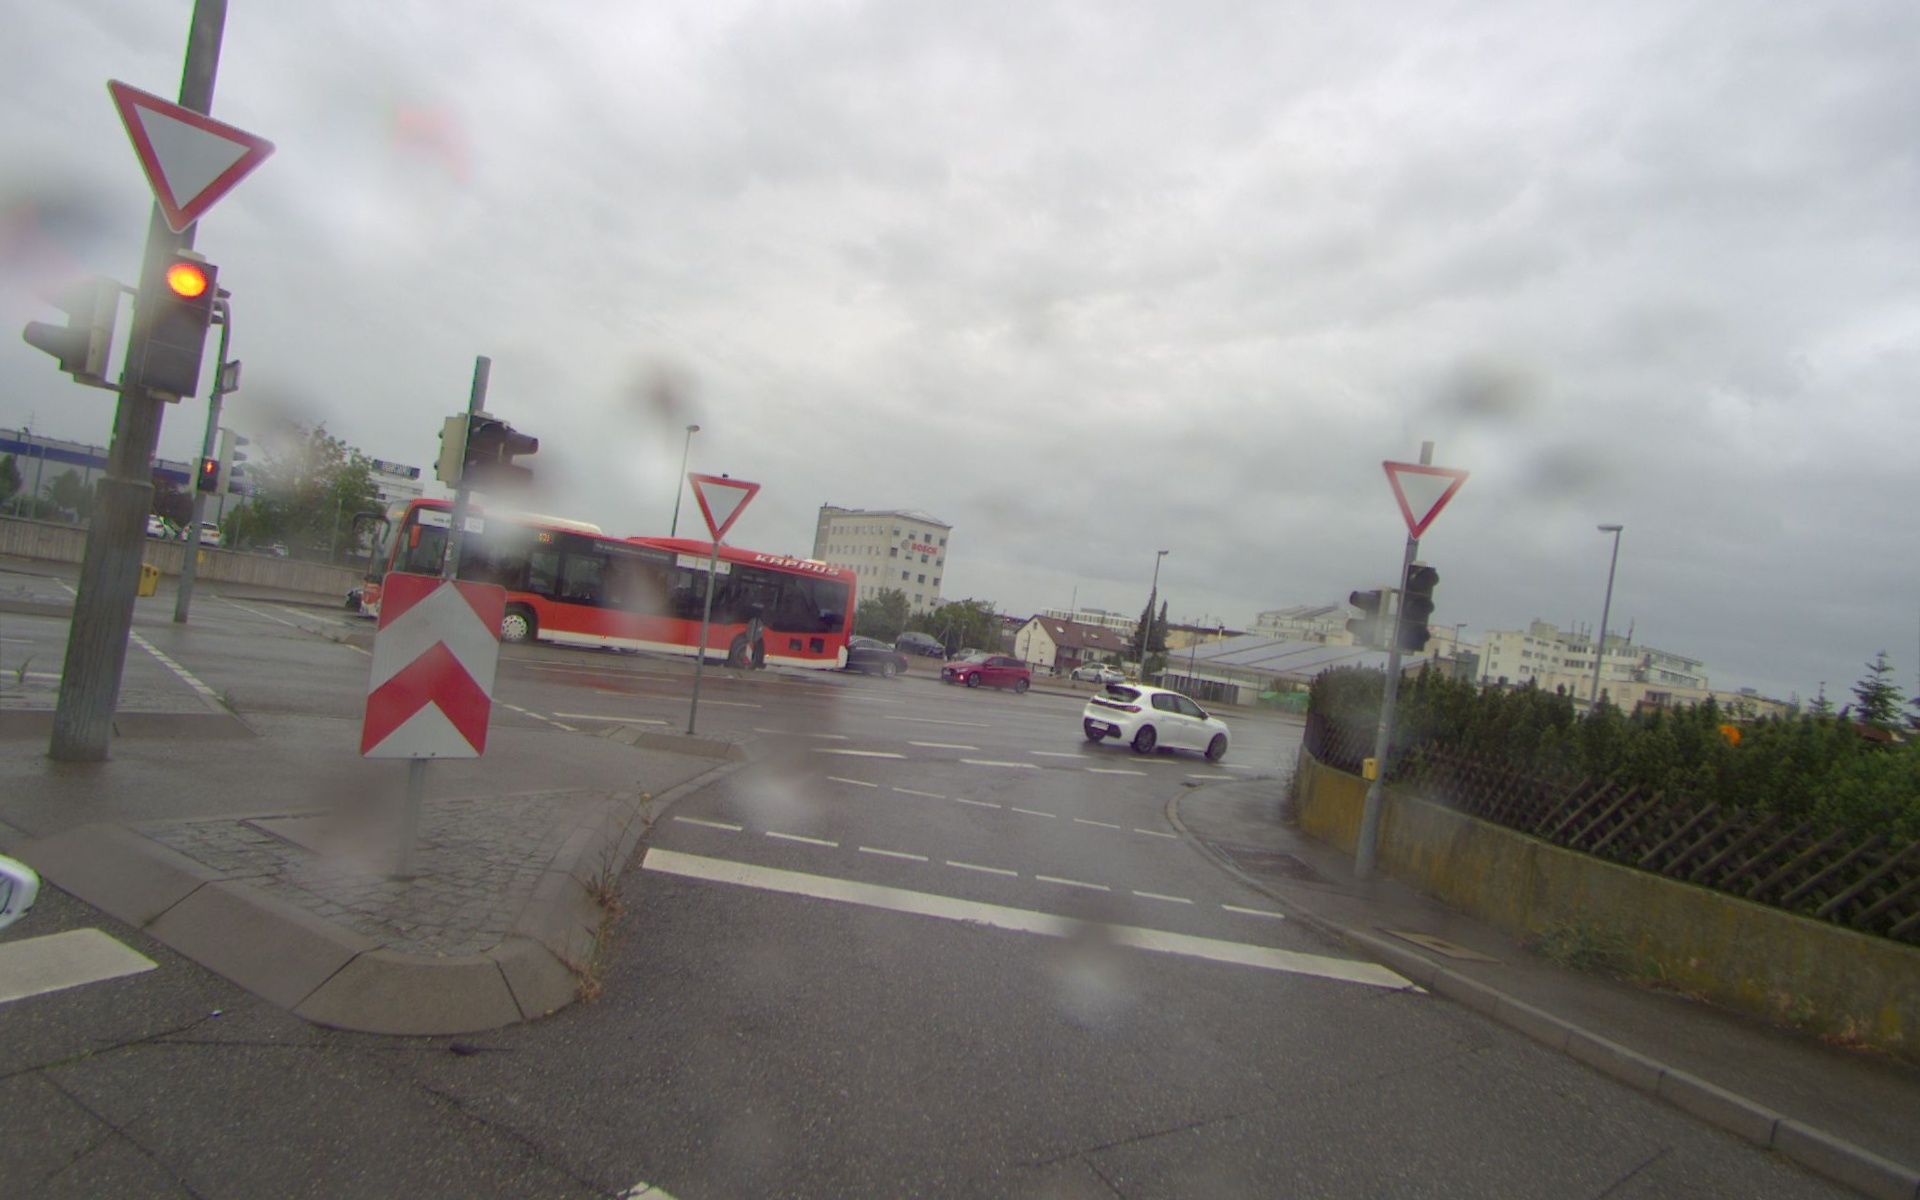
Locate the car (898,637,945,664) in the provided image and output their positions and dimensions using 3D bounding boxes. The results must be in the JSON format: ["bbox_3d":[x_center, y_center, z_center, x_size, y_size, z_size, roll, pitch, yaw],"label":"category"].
[{"bbox_3d":[-3.170,4.060,81.464,1.980,1.636,3.970,9,-2,-30],"label":"car"}]

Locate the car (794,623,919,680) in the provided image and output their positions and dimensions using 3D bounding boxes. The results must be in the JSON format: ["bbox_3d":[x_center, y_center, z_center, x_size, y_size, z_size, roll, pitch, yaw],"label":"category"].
[{"bbox_3d":[-3.868,1.976,38.187,4.367,1.555,1.804,10,-3,-42],"label":"car"}]

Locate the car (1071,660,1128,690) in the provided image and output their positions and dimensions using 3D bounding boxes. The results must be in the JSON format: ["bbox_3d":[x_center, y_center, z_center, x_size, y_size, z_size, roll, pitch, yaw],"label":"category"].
[{"bbox_3d":[9.681,5.211,70.117,1.976,1.561,3.977,9,-2,-25],"label":"car"}]

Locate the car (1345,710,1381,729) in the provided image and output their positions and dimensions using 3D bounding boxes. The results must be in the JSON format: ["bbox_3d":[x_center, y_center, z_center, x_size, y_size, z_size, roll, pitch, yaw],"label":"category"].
[{"bbox_3d":[41.082,12.158,102.549,3.616,1.436,1.720,10,-2,-36],"label":"car"}]

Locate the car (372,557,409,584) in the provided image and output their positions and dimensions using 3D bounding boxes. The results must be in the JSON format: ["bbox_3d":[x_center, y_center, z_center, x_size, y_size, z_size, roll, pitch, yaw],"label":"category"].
[{"bbox_3d":[-41.511,-2.155,73.309,1.912,1.607,3.754,9,-2,-34],"label":"car"}]

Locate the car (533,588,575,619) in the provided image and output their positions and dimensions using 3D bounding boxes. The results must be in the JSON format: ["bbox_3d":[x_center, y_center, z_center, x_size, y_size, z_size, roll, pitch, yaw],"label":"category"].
[{"bbox_3d":[-31.958,0.284,79.079,1.983,2.037,3.962,8,-2,-36],"label":"car"}]

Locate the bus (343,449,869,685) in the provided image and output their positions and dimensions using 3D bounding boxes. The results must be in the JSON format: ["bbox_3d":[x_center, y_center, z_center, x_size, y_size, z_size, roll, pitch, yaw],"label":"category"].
[{"bbox_3d":[-8.299,-0.425,25.810,12.223,3.614,2.952,12,-4,-41],"label":"bus"}]

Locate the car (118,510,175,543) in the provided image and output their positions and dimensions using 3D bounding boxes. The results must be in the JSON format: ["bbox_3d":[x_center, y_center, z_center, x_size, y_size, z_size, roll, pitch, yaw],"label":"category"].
[{"bbox_3d":[-45.588,-4.110,56.452,1.805,1.450,4.071,8,-2,-32],"label":"car"}]

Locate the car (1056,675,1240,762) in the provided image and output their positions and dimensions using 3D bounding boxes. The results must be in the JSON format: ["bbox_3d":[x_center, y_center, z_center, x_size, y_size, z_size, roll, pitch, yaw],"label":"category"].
[{"bbox_3d":[4.397,2.772,23.352,3.946,1.525,1.854,9,-2,-35],"label":"car"}]

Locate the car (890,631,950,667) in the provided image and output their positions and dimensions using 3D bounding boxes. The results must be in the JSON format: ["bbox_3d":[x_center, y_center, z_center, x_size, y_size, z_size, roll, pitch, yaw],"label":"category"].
[{"bbox_3d":[-2.496,2.979,61.675,1.912,1.684,3.869,9,-2,-29],"label":"car"}]

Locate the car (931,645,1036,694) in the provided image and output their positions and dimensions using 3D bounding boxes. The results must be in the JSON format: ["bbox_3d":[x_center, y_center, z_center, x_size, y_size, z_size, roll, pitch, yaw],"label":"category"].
[{"bbox_3d":[0.992,2.896,42.004,3.948,1.525,1.853,9,-2,-36],"label":"car"}]

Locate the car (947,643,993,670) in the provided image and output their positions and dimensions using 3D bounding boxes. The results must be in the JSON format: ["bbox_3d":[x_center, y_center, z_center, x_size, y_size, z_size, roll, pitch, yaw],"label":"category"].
[{"bbox_3d":[0.798,4.675,83.751,1.980,1.636,3.970,9,-2,-30],"label":"car"}]

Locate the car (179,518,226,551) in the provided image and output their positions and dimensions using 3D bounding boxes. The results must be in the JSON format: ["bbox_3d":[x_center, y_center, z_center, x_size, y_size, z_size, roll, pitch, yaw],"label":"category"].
[{"bbox_3d":[-43.801,-3.757,58.220,1.847,1.543,4.066,8,-2,-35],"label":"car"}]

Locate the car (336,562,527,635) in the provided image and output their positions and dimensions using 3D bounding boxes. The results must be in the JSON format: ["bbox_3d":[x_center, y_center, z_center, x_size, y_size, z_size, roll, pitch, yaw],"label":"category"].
[{"bbox_3d":[-14.787,-0.012,28.289,4.367,1.370,1.804,10,-3,-42],"label":"car"}]

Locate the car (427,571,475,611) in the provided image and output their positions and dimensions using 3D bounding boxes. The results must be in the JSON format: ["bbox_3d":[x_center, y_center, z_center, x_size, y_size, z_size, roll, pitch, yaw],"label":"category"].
[{"bbox_3d":[-30.927,-0.560,61.075,1.734,2.037,3.786,8,-2,-37],"label":"car"}]
